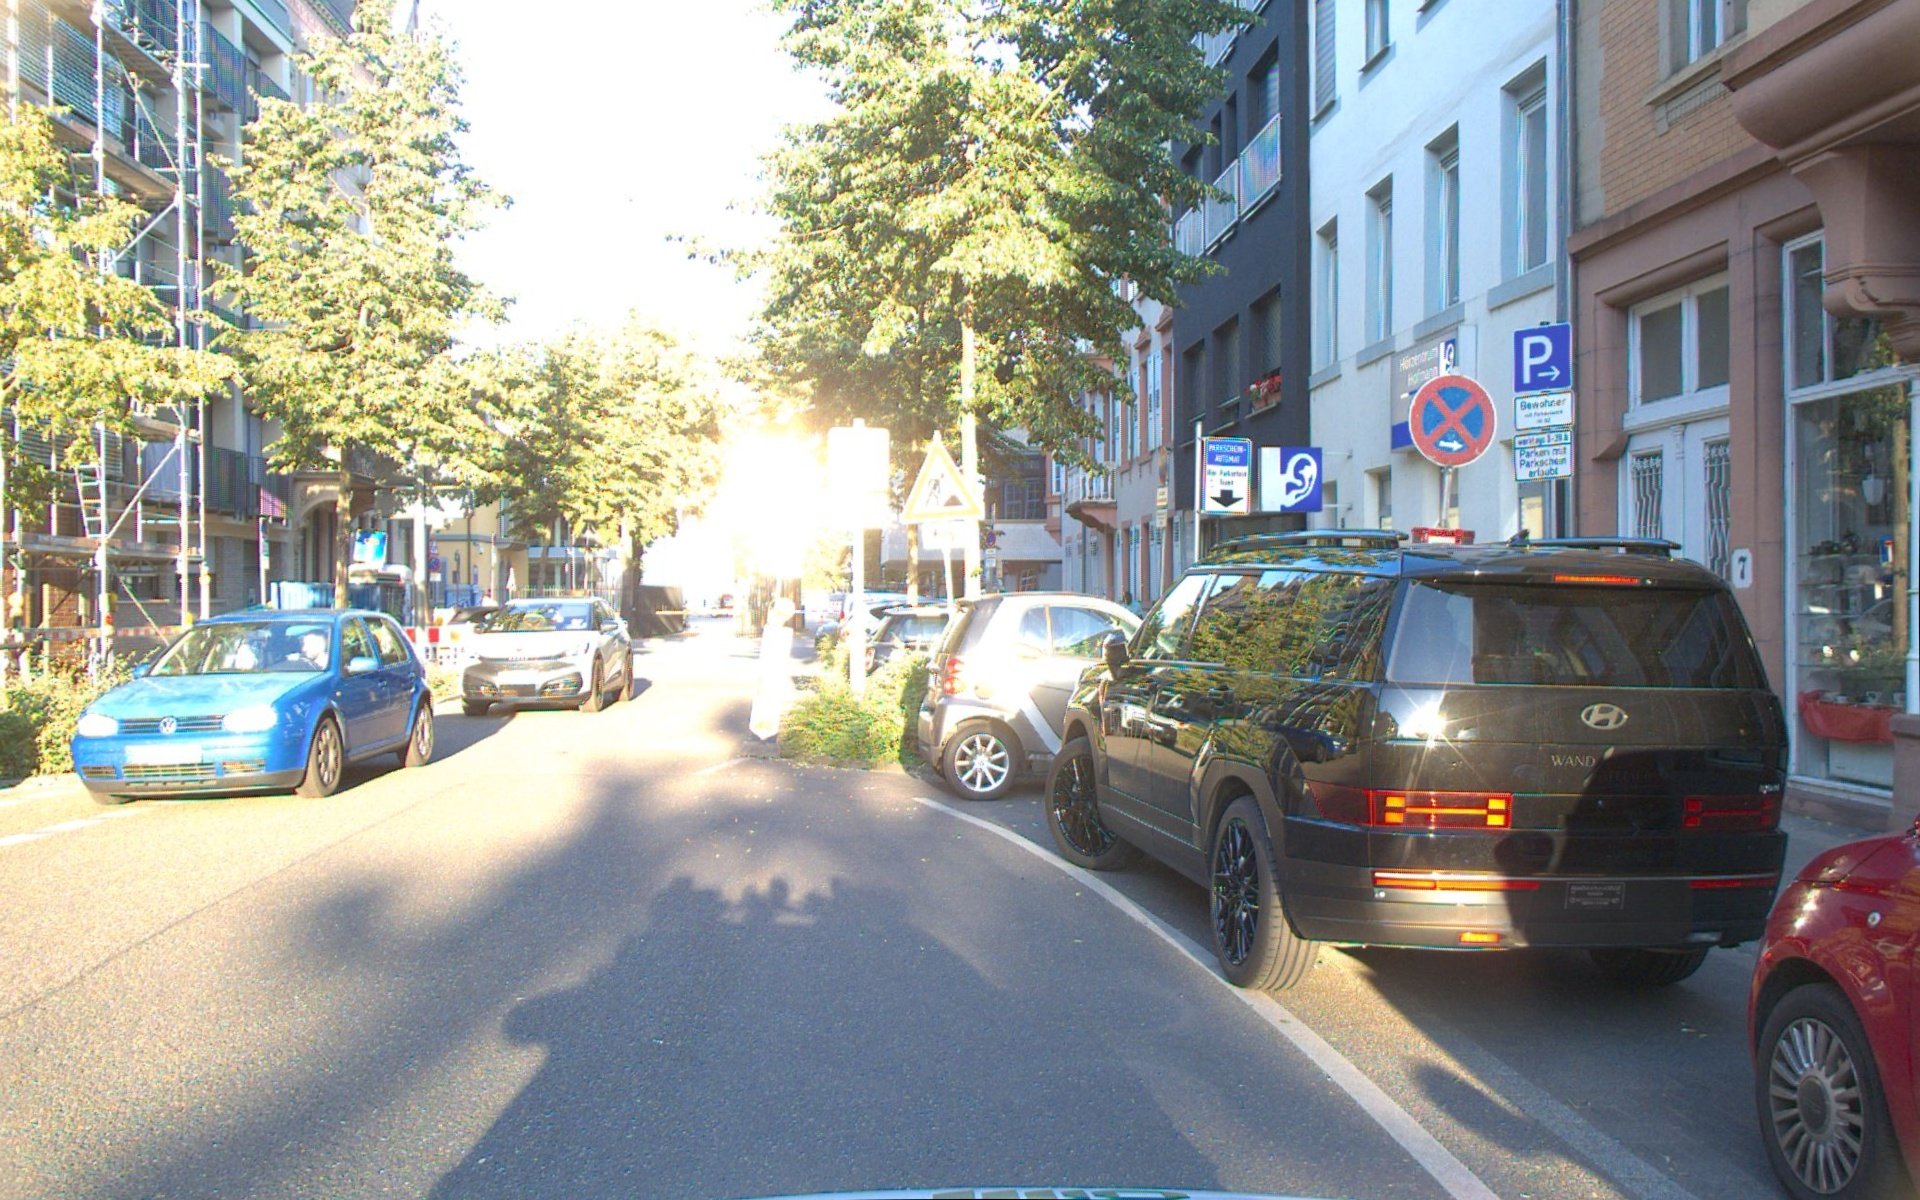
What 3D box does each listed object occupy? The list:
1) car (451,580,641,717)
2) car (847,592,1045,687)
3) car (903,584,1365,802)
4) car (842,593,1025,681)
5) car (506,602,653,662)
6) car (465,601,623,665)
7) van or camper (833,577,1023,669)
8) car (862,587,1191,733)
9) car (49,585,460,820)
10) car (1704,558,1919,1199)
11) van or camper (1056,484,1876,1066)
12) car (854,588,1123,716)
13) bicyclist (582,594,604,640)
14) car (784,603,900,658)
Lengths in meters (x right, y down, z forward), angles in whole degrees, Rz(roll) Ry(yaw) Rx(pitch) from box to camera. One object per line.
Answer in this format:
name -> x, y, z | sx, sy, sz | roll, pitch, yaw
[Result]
car -> -5.858, 0.634, 23.927 | 1.836, 1.727, 4.318 | -2, 0, -4
car -> -0.306, 0.739, 31.577 | 3.614, 1.699, 1.856 | 1, 0, -6
car -> 1.348, 0.681, 13.304 | 3.409, 1.603, 1.503 | 0, 0, -13
car -> -0.584, 0.747, 34.045 | 3.614, 1.699, 1.856 | 1, 0, -6
car -> -11.131, 0.918, 48.586 | 3.906, 1.713, 1.890 | 0, 0, -2
car -> -11.484, 0.900, 45.880 | 3.906, 1.713, 1.890 | 0, 0, -2
van or camper -> -0.797, 0.541, 39.127 | 4.354, 2.041, 1.856 | 1, 0, -6
car -> 0.768, 0.737, 20.901 | 3.918, 1.699, 1.856 | 1, 0, -6
car -> -5.534, 0.711, 13.577 | 1.654, 1.590, 4.117 | -2, 0, -1
car -> 2.928, 0.715, 3.016 | 1.495, 1.597, 3.420 | 1, 0, -2
van or camper -> 1.819, 0.553, 7.593 | 1.854, 1.839, 4.451 | 0, 0, -9
car -> 0.346, 0.721, 23.542 | 3.614, 1.699, 1.856 | 1, 0, -6
bicyclist -> -12.893, 0.594, 58.139 | 0.748, 1.634, 0.498 | 0, 0, -12
car -> -3.571, 0.907, 50.695 | 1.817, 1.595, 3.691 | 1, 0, 29
